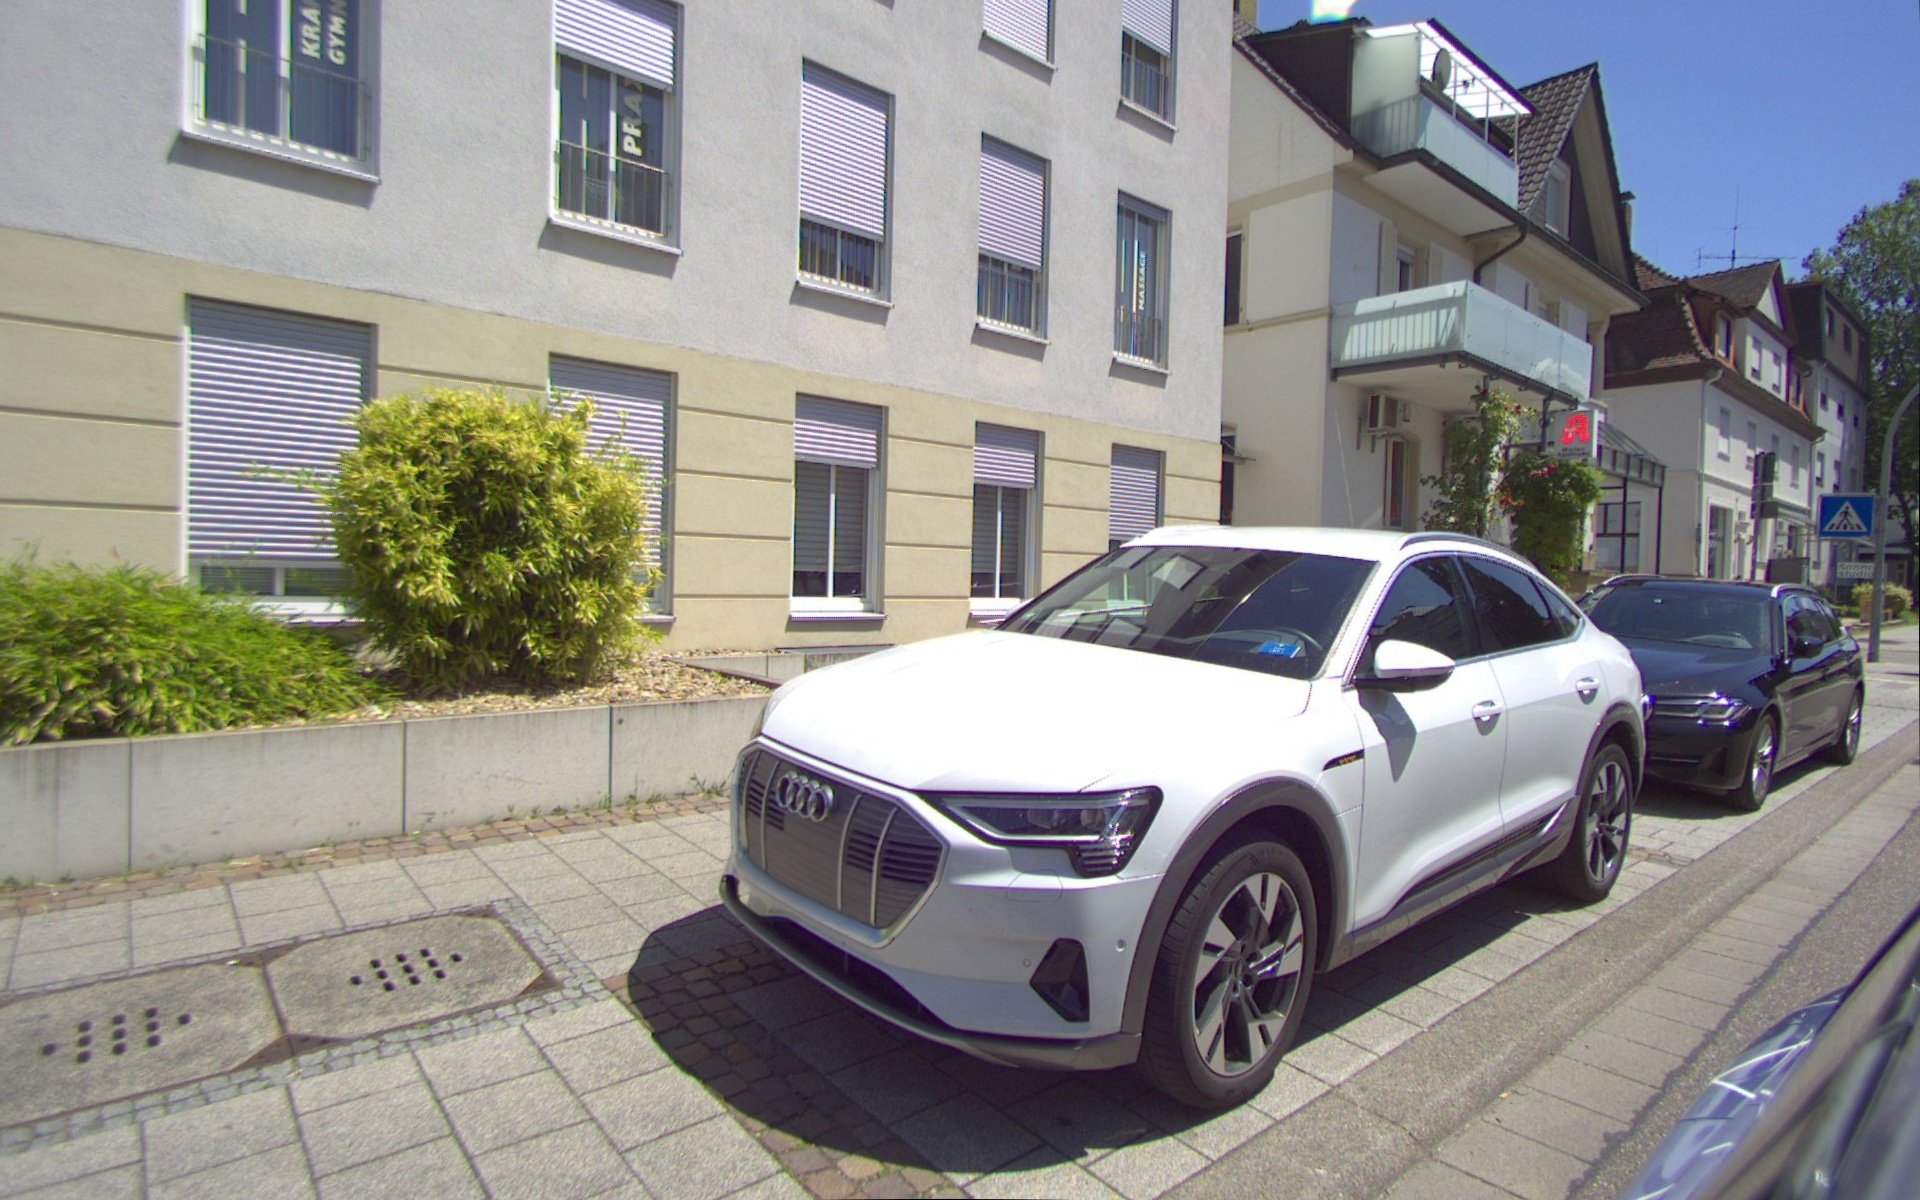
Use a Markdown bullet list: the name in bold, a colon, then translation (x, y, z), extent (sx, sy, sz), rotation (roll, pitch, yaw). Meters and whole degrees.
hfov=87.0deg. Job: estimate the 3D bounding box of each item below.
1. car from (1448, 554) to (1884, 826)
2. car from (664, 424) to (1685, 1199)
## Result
- **car**: translation (5.784, 0.499, 8.031), extent (4.664, 1.576, 1.708), rotation (0, 1, -40)
- **car**: translation (1.279, 0.399, 4.226), extent (4.499, 1.686, 1.709), rotation (0, 5, -40)
